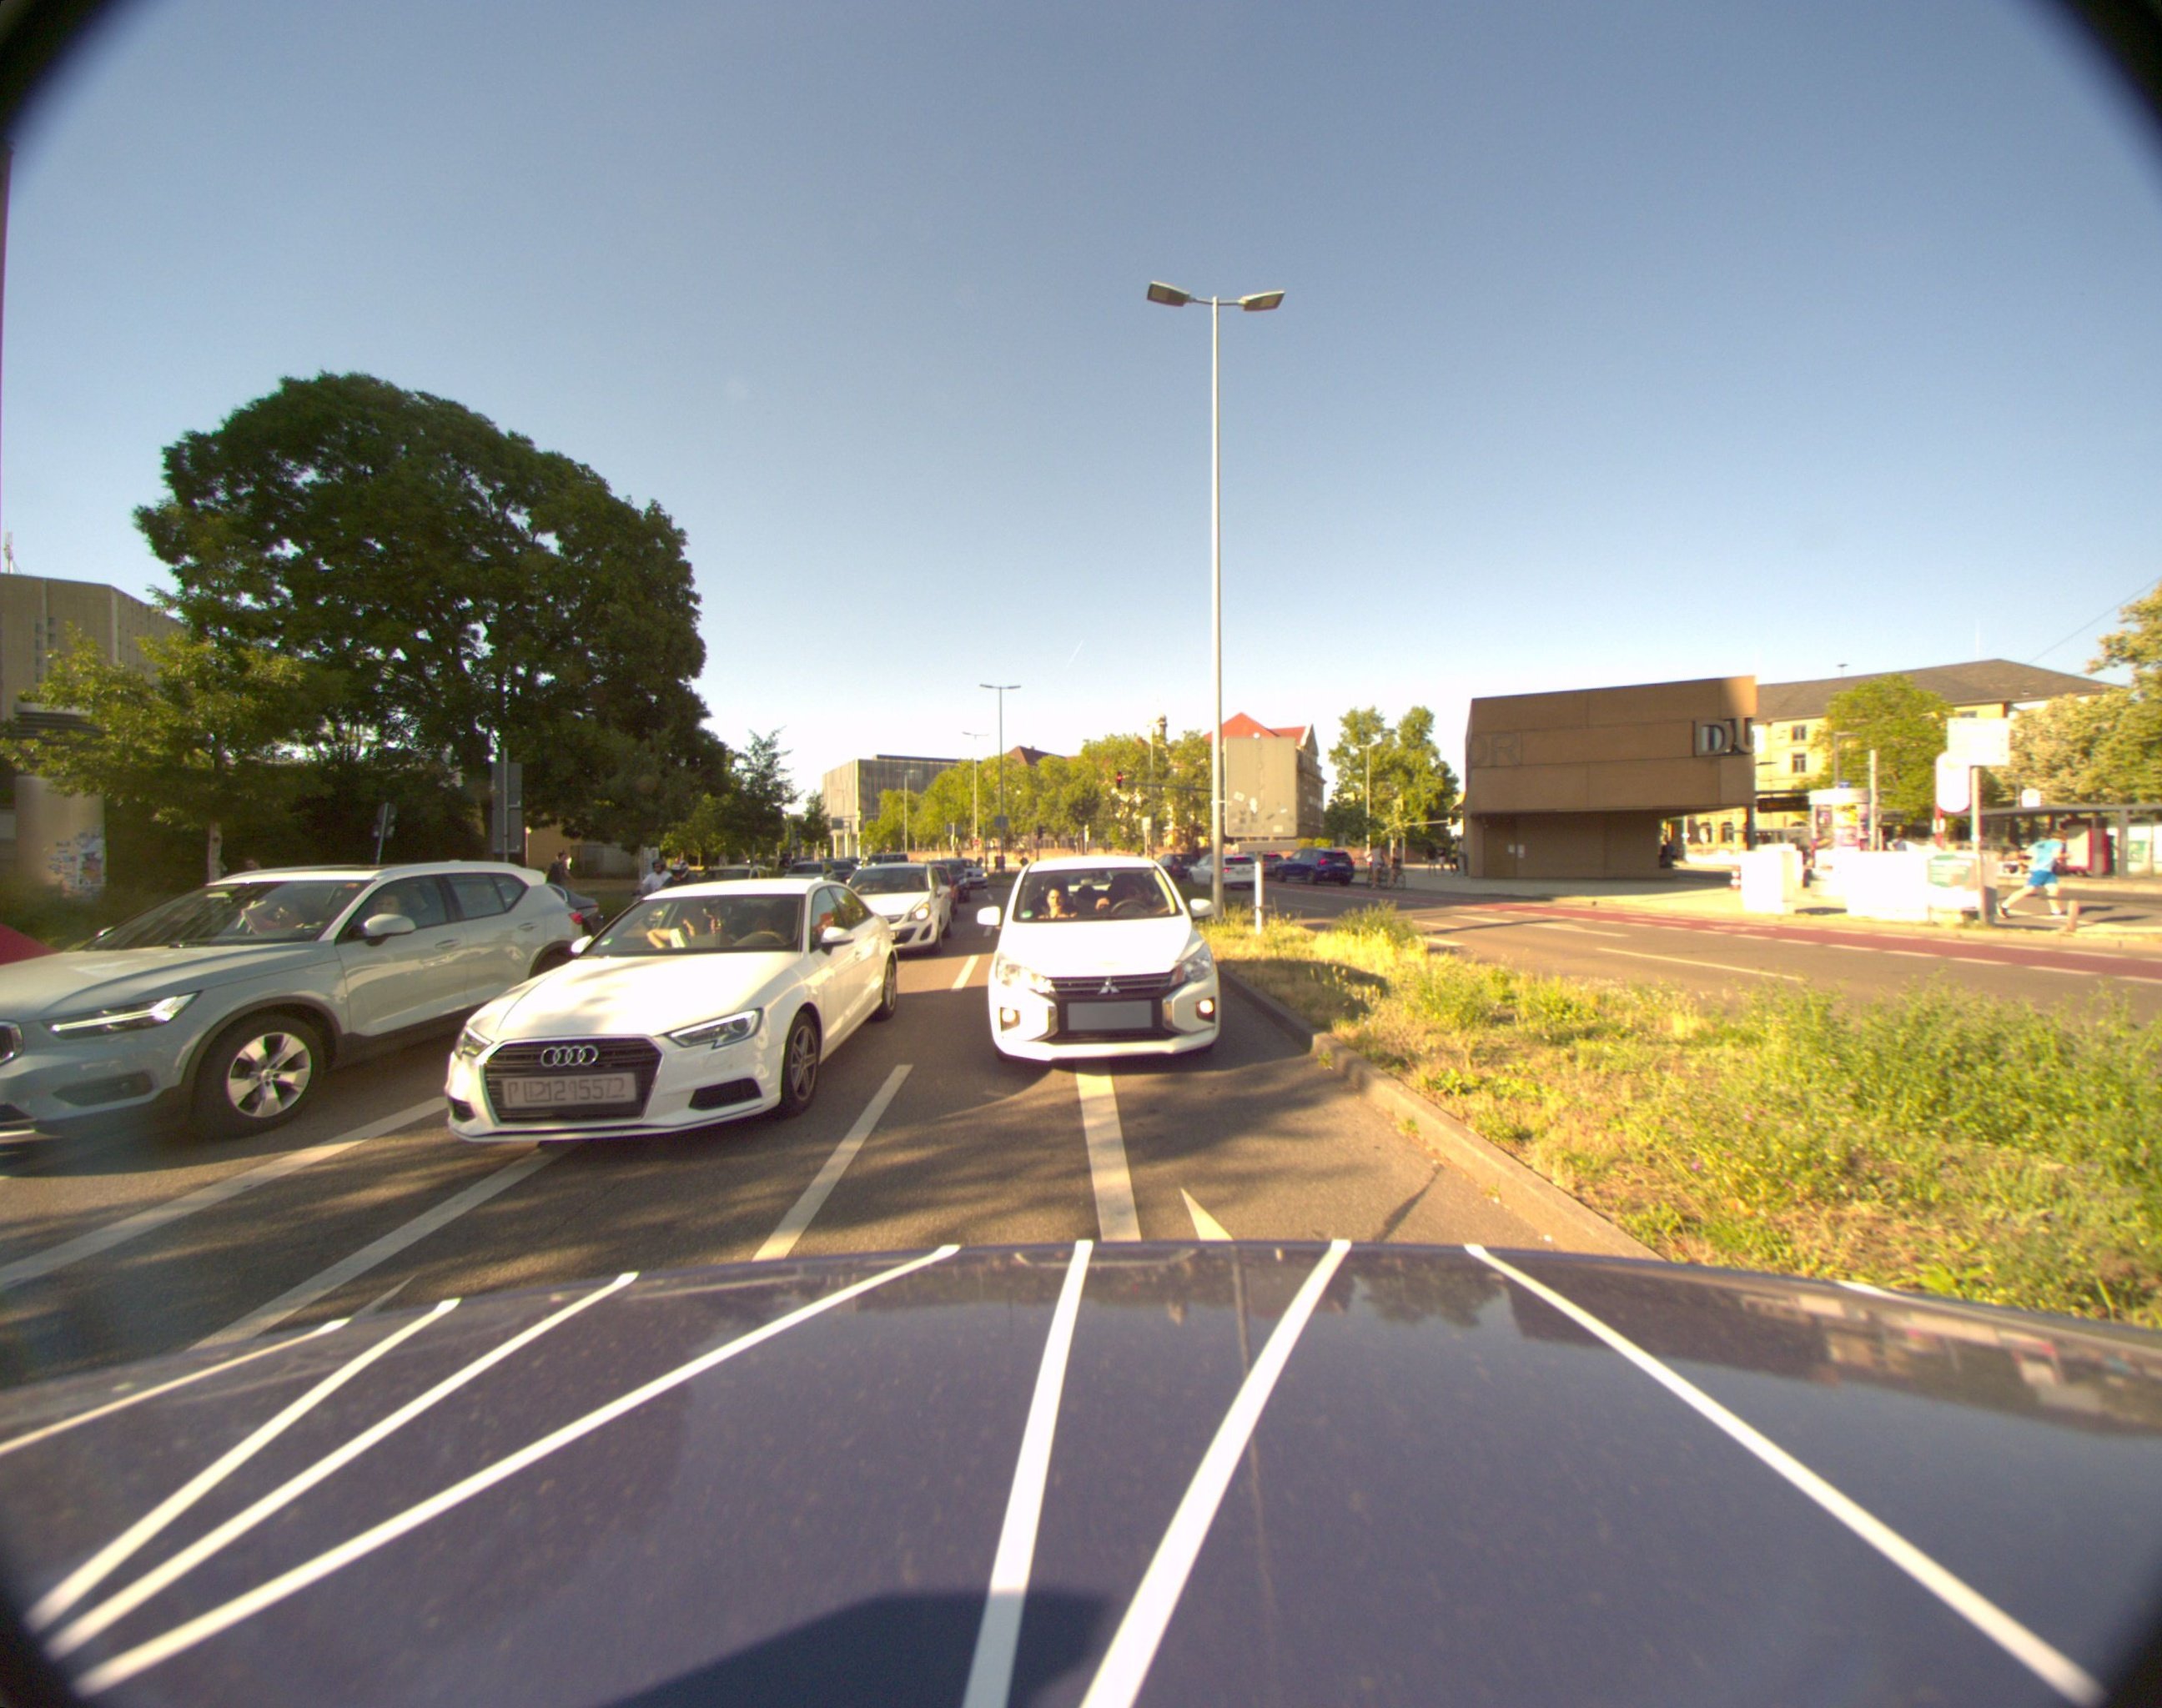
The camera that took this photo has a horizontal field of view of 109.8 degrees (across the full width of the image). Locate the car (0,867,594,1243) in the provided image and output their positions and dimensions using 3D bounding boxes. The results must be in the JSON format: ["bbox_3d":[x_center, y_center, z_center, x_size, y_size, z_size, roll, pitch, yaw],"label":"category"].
[{"bbox_3d":[-5.767,1.006,5.624,1.628,1.611,4.222,-2,1,-2],"label":"car"}]

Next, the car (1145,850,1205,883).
[{"bbox_3d":[4.623,0.556,37.949,1.757,1.451,4.184,-2,1,-10],"label":"car"}]

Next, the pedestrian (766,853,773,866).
[{"bbox_3d":[-48.887,0.819,119.270,0.840,2.002,1.065,-3,2,-30],"label":"pedestrian"}]

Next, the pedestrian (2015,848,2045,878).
[{"bbox_3d":[38.886,0.353,31.136,0.539,1.180,0.659,-1,2,29],"label":"pedestrian"}]

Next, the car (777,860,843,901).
[{"bbox_3d":[-11.296,1.055,31.928,1.746,1.536,3.997,-1,0,-7],"label":"car"}]

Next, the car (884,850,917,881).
[{"bbox_3d":[-11.342,0.686,47.763,1.880,1.805,3.995,-1,0,-14],"label":"car"}]

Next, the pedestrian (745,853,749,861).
[{"bbox_3d":[-57.891,0.517,131.650,0.410,1.477,0.486,-1,1,0],"label":"pedestrian"}]

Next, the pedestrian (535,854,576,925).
[{"bbox_3d":[-14.403,0.963,20.845,0.464,1.875,0.696,-2,2,17],"label":"pedestrian"}]

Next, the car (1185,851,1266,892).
[{"bbox_3d":[5.950,0.656,31.811,1.850,1.483,4.387,-2,1,-10],"label":"car"}]

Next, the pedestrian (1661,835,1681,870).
[{"bbox_3d":[34.349,-0.086,44.243,0.780,2.002,0.771,-4,2,-42],"label":"pedestrian"}]

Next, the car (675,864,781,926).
[{"bbox_3d":[-10.049,1.109,21.968,1.746,1.516,3.996,-1,0,-10],"label":"car"}]

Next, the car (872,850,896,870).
[{"bbox_3d":[-19.015,0.554,73.405,1.881,1.805,3.993,-1,0,-19],"label":"car"}]

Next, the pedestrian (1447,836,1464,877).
[{"bbox_3d":[18.420,0.112,37.400,0.655,2.002,0.469,-2,2,20],"label":"pedestrian"}]

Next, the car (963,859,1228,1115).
[{"bbox_3d":[0.035,0.855,6.821,1.628,1.451,4.040,-2,1,-2],"label":"car"}]

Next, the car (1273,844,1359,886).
[{"bbox_3d":[10.314,0.429,33.623,1.757,1.680,4.183,-1,1,-13],"label":"car"}]

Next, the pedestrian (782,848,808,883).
[{"bbox_3d":[-17.144,0.681,45.519,1.143,2.002,1.285,-3,2,-10],"label":"pedestrian"}]

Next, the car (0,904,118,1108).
[{"bbox_3d":[-8.770,1.206,4.240,1.628,1.451,4.040,-2,1,-2],"label":"car"}]

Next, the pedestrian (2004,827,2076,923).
[{"bbox_3d":[19.563,0.415,15.523,0.797,1.886,0.612,0,1,40],"label":"pedestrian"}]

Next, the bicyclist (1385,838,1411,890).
[{"bbox_3d":[12.393,0.388,29.733,0.611,2.002,0.708,-1,1,-15],"label":"bicyclist"}]

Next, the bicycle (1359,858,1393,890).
[{"bbox_3d":[11.582,0.777,29.890,0.464,1.185,1.395,-3,1,-17],"label":"bicycle"}]

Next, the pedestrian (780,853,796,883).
[{"bbox_3d":[-15.796,0.745,40.940,0.596,1.585,0.594,-2,2,-8],"label":"pedestrian"}]

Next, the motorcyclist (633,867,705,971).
[{"bbox_3d":[-6.628,1.031,12.256,0.711,1.581,0.690,-2,2,-4],"label":"motorcyclist"}]

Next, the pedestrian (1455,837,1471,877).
[{"bbox_3d":[19.171,0.145,38.155,0.655,2.002,0.469,-2,2,20],"label":"pedestrian"}]

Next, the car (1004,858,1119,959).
[{"bbox_3d":[-0.208,0.877,14.152,1.755,1.451,4.189,-2,1,3],"label":"car"}]

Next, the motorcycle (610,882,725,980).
[{"bbox_3d":[-6.639,1.177,12.359,0.718,1.297,2.233,-2,1,-4],"label":"motorcycle"}]

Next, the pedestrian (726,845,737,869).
[{"bbox_3d":[-24.323,0.204,52.929,0.548,1.597,0.603,-3,2,-19],"label":"pedestrian"}]

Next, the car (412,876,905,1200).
[{"bbox_3d":[-2.571,0.987,5.769,1.628,1.396,3.832,-2,1,-2],"label":"car"}]

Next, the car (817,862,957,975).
[{"bbox_3d":[-3.119,0.947,12.955,1.628,1.451,4.039,-2,1,-5],"label":"car"}]

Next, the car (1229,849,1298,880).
[{"bbox_3d":[9.387,0.486,39.505,1.850,1.483,4.387,1,1,-10],"label":"car"}]

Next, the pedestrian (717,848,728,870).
[{"bbox_3d":[-24.889,0.357,52.739,0.548,1.521,0.603,-3,2,-19],"label":"pedestrian"}]

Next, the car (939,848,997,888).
[{"bbox_3d":[-5.290,0.597,35.149,1.748,1.696,3.992,-1,1,-21],"label":"car"}]

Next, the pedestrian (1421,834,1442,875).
[{"bbox_3d":[17.569,0.028,38.082,0.777,2.002,0.773,-2,2,13],"label":"pedestrian"}]

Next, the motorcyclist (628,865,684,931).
[{"bbox_3d":[-8.897,0.902,15.925,0.718,1.297,0.735,-2,2,-4],"label":"motorcyclist"}]

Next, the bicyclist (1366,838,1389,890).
[{"bbox_3d":[11.581,0.387,29.705,0.611,2.002,0.565,-1,1,-15],"label":"bicyclist"}]

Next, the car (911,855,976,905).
[{"bbox_3d":[-4.855,0.837,26.475,1.747,1.536,3.994,-1,1,-17],"label":"car"}]

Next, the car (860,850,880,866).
[{"bbox_3d":[-24.484,0.479,88.163,1.881,1.805,3.993,-1,0,-19],"label":"car"}]

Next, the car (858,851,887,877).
[{"bbox_3d":[-15.206,0.715,55.507,1.880,1.805,3.995,-1,0,-14],"label":"car"}]

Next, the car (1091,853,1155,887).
[{"bbox_3d":[1.913,0.712,36.346,1.757,1.451,4.183,-3,1,-16],"label":"car"}]

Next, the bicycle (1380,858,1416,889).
[{"bbox_3d":[12.394,0.748,29.755,0.464,1.185,1.395,-3,1,-17],"label":"bicycle"}]

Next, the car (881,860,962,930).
[{"bbox_3d":[-3.966,0.947,19.469,1.628,1.451,4.038,-2,1,-7],"label":"car"}]

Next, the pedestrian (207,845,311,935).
[{"bbox_3d":[-16.468,0.688,15.262,1.010,1.711,0.884,-3,2,-10],"label":"pedestrian"}]

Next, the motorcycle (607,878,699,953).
[{"bbox_3d":[-8.845,1.226,15.818,0.718,1.297,2.233,-2,1,-4],"label":"motorcycle"}]

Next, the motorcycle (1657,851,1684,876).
[{"bbox_3d":[26.131,0.435,33.683,0.948,1.061,0.331,-1,2,38],"label":"motorcycle"}]

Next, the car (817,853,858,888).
[{"bbox_3d":[-13.532,0.862,42.347,1.880,1.805,3.995,-1,0,-14],"label":"car"}]
